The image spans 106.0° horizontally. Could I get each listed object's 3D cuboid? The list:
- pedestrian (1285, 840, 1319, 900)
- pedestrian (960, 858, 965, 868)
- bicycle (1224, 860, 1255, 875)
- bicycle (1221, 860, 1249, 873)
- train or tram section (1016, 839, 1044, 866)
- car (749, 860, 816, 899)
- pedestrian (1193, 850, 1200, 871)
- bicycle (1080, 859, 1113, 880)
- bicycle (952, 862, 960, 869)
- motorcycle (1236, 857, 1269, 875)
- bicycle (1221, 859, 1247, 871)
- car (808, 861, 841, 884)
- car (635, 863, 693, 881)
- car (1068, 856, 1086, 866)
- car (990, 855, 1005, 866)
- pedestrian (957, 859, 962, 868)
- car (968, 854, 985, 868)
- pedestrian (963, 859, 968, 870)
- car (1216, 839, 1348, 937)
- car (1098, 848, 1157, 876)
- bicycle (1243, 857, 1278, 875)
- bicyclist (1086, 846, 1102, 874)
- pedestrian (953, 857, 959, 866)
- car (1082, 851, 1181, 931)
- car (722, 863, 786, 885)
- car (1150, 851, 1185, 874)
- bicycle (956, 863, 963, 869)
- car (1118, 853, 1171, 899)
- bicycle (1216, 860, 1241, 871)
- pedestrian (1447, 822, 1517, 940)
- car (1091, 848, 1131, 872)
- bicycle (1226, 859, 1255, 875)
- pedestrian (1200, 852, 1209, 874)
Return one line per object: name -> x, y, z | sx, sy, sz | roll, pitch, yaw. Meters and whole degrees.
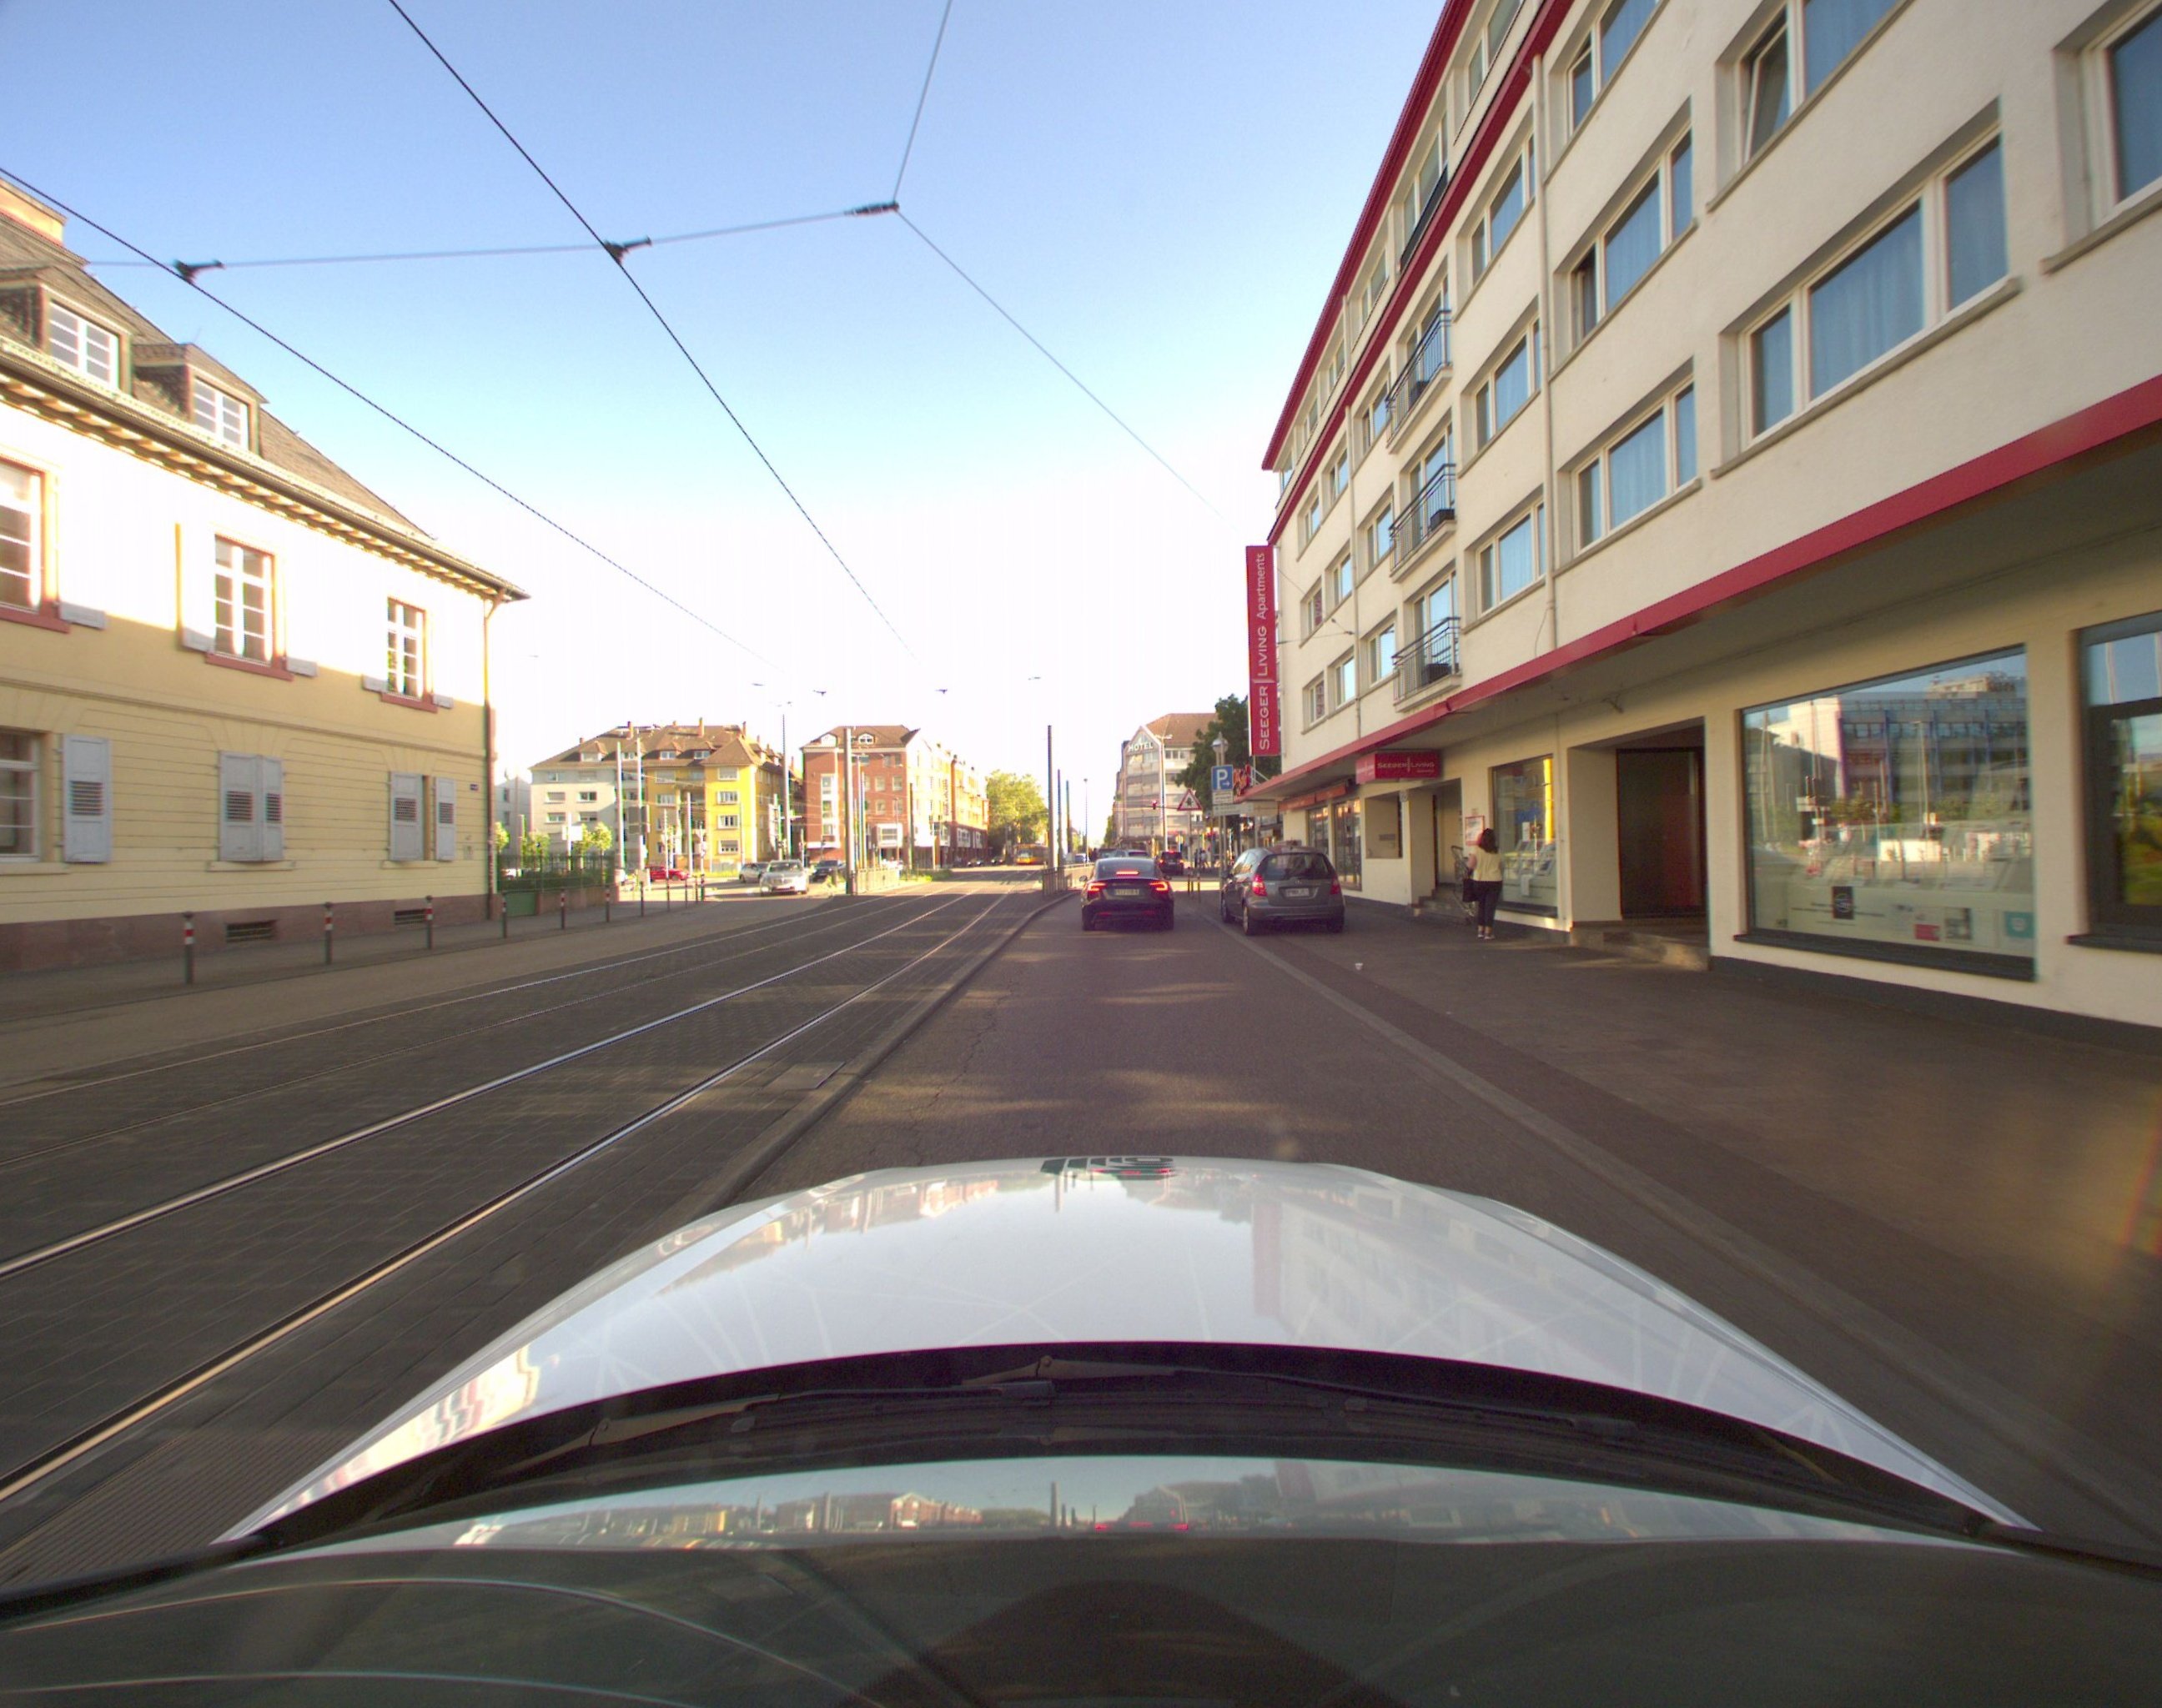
pedestrian -> 6.401, 0.461, 23.591 | 0.810, 1.683, 0.718 | 1, -1, 25
pedestrian -> -18.293, 1.359, 126.192 | 0.710, 1.555, 0.563 | 1, -1, -7
bicycle -> 10.700, 0.922, 55.061 | 2.043, 0.982, 0.483 | -1, -1, 2
bicycle -> 11.347, 0.924, 60.000 | 1.916, 0.950, 0.526 | -1, -1, 2
train or tram section -> -7.409, -0.117, 121.123 | 2.664, 3.715, 14.199 | 1, 0, 2
car -> -12.675, 1.021, 34.829 | 1.881, 1.495, 4.911 | -2, 0, -11
pedestrian -> 8.960, 0.500, 63.224 | 0.559, 1.683, 0.751 | 0, 0, 6
bicycle -> 0.818, 0.841, 44.533 | 1.726, 1.088, 0.676 | 1, -1, -7
bicycle -> -18.615, 1.708, 121.322 | 0.699, 0.855, 2.054 | -1, 0, 2
motorcycle -> 11.140, 0.758, 52.982 | 1.984, 1.128, 0.596 | 1, -1, 1
bicycle -> 11.831, 0.851, 63.016 | 1.916, 0.890, 0.526 | -1, -1, 2
car -> -17.850, 1.289, 56.876 | 1.765, 1.512, 4.263 | -1, 0, -12
car -> -36.746, 1.578, 71.819 | 4.143, 1.490, 1.933 | 0, 0, -8
car -> -0.527, 0.949, 111.054 | 1.984, 1.420, 4.005 | 1, 0, 5
car -> -13.250, 1.023, 129.439 | 1.744, 1.651, 4.002 | 1, 0, 2
pedestrian -> -18.511, 1.418, 124.303 | 0.693, 1.308, 0.564 | -1, 0, 0
car -> -16.190, 1.054, 126.150 | 1.986, 2.013, 4.002 | -1, 0, 2
pedestrian -> -18.185, 1.635, 128.367 | 0.710, 1.667, 0.563 | 1, -1, -7
car -> 3.786, 0.582, 15.917 | 1.738, 1.632, 3.651 | -2, 0, 2
car -> 2.650, 0.444, 47.636 | 1.791, 1.519, 4.185 | 1, -1, -23
bicycle -> 11.212, 0.730, 50.881 | 2.043, 1.121, 0.483 | -1, -1, 2
bicyclist -> 0.704, 0.318, 44.559 | 0.835, 1.500, 0.559 | 1, -1, -6
pedestrian -> -18.620, 1.166, 121.371 | 0.708, 1.342, 0.666 | -1, 0, 1
car -> 0.971, 0.711, 17.210 | 1.843, 1.484, 3.787 | 0, -1, 0
car -> -24.910, 1.475, 62.049 | 4.551, 1.556, 1.826 | 1, -1, 25
car -> 5.832, 0.558, 55.178 | 1.820, 1.519, 3.644 | 1, 0, -4
bicycle -> -18.511, 1.766, 124.227 | 0.699, 0.855, 2.054 | -1, 0, 2
car -> 2.116, 0.698, 27.986 | 1.647, 1.418, 4.003 | 1, 0, 2
bicycle -> 11.663, 0.892, 64.348 | 1.916, 0.890, 0.526 | -1, -1, 2
pedestrian -> 6.295, 0.420, 12.835 | 0.797, 1.774, 0.936 | -1, -1, 15
car -> 1.977, 0.415, 54.901 | 1.825, 1.519, 4.202 | 1, 0, -11
bicycle -> 11.177, 0.888, 57.114 | 1.916, 1.097, 0.555 | -1, -1, 2
pedestrian -> 9.231, 0.650, 61.075 | 0.626, 1.614, 0.644 | 0, 0, 5
